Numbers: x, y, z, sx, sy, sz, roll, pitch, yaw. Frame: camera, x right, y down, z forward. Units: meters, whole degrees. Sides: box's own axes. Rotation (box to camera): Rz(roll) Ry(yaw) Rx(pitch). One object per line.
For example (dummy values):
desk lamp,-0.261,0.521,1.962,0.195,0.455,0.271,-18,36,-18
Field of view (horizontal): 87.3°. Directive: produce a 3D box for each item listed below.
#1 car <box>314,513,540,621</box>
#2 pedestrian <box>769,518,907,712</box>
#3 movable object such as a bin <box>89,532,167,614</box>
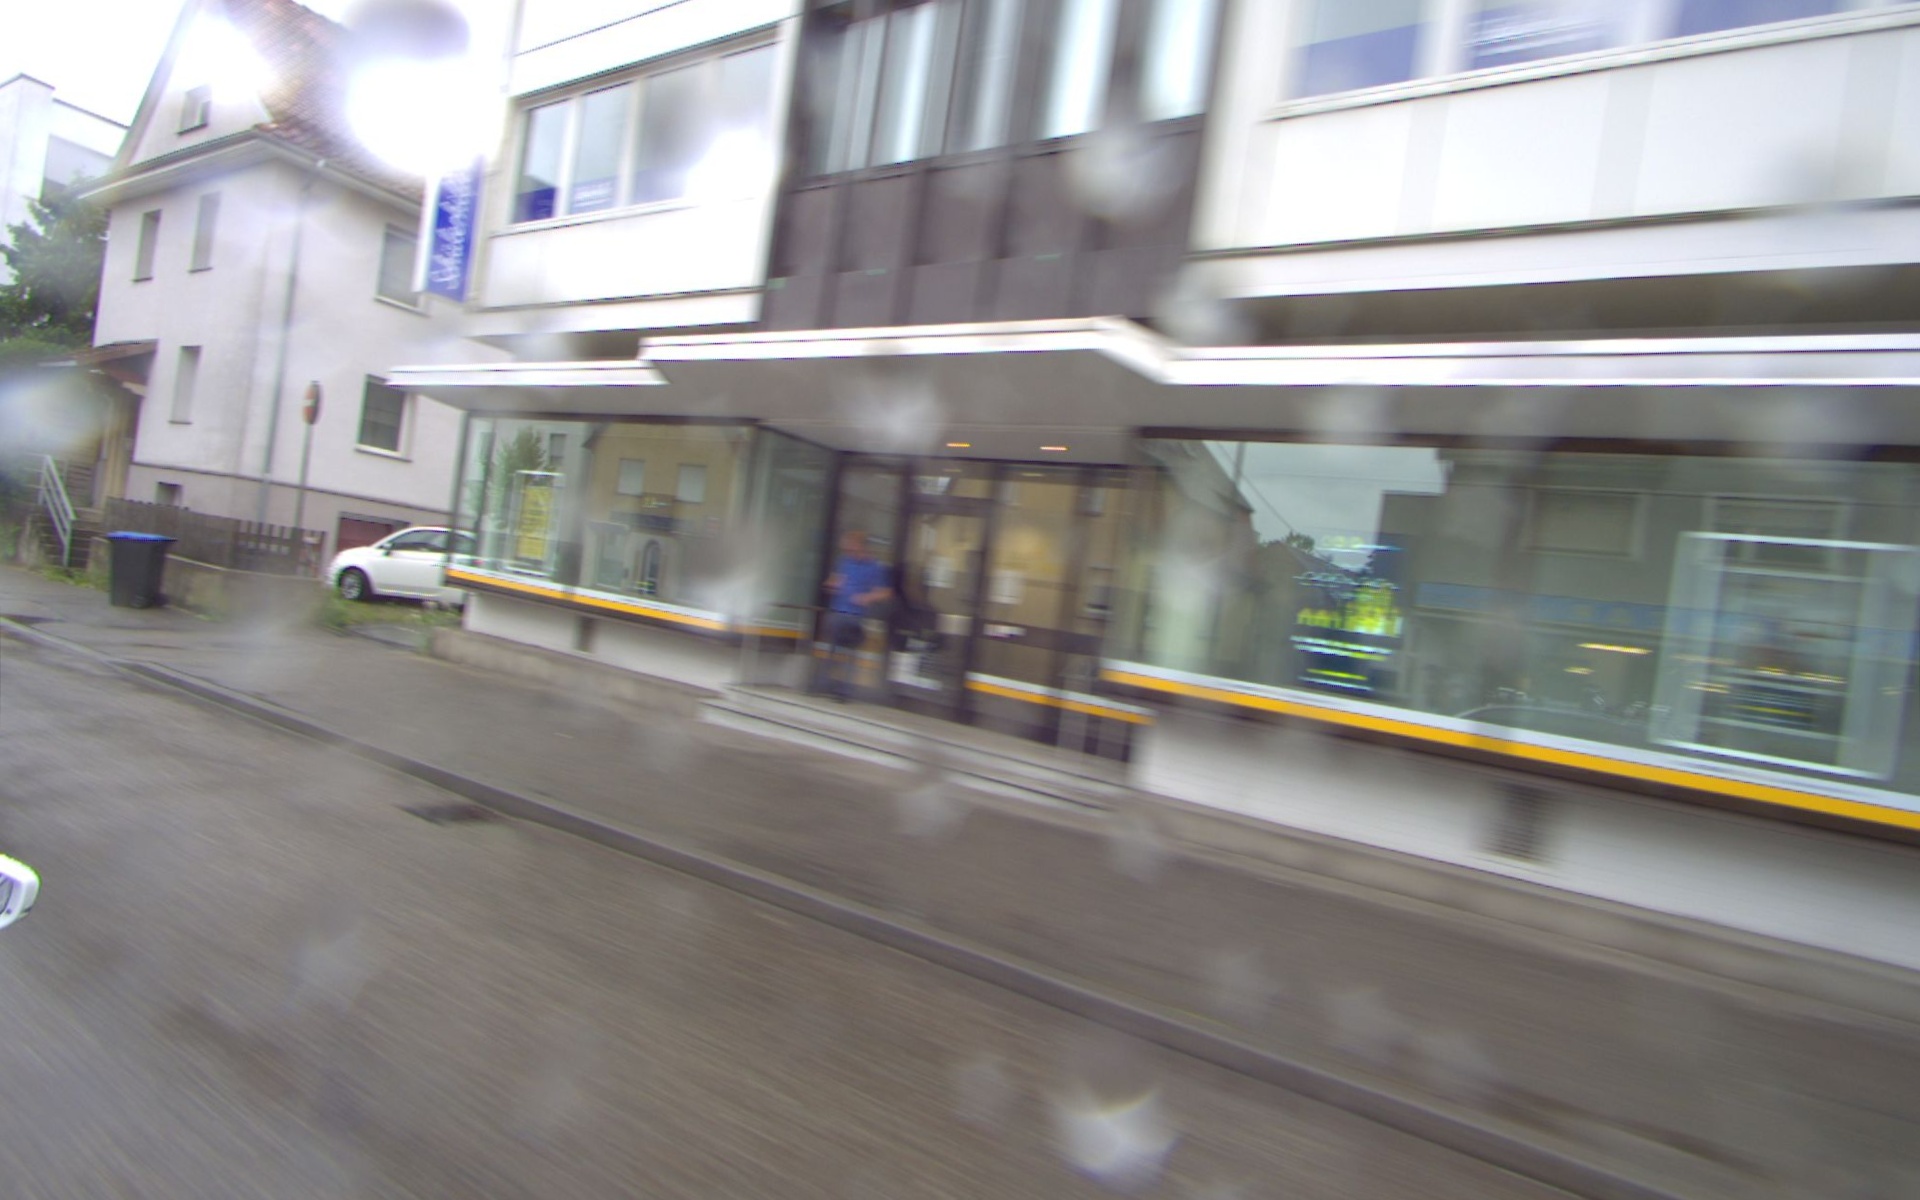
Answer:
car,-9.580,-0.591,18.206,3.278,1.522,1.354,7,3,1
pedestrian,-1.240,0.152,10.191,0.939,1.802,0.728,9,1,41
movable object such as a bin,-12.075,-0.385,14.599,0.816,1.062,0.576,9,2,32
